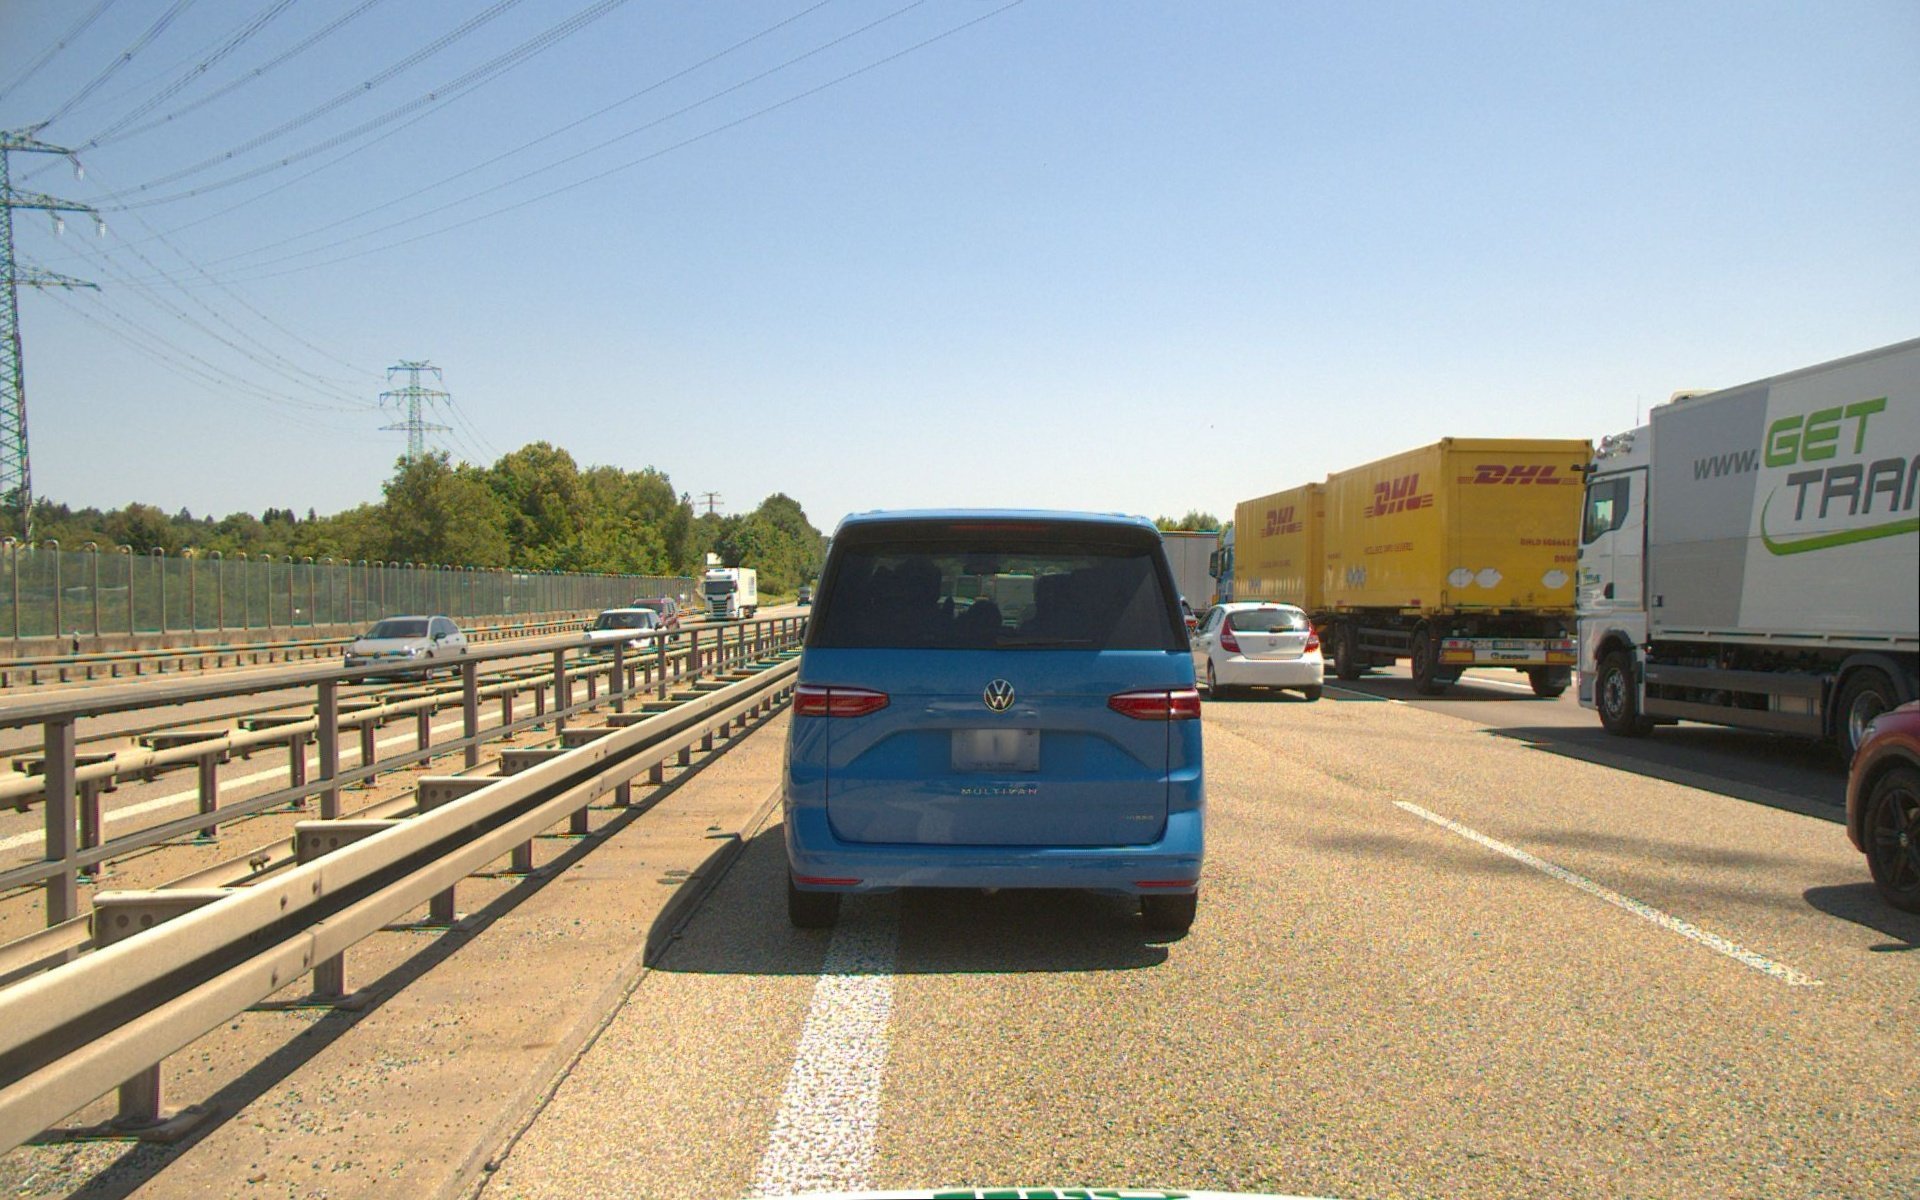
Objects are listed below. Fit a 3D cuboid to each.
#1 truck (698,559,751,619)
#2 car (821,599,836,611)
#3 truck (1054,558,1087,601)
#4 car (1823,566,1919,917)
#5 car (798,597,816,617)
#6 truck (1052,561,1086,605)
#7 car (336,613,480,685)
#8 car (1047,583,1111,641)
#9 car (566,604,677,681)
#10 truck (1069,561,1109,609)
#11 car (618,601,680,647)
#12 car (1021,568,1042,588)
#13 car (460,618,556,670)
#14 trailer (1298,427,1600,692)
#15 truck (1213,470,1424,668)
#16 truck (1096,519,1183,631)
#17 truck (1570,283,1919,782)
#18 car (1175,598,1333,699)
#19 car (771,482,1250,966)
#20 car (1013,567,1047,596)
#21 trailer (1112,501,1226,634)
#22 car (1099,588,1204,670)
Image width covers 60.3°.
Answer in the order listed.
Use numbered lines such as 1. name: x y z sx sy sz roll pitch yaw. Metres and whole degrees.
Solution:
1. truck: -18.199 -0.786 128.093 2.869 4.368 6.857 -3 -1 0
2. car: -18.076 0.667 227.116 1.736 1.517 4.604 -1 0 0
3. truck: 7.059 -1.301 105.617 1.760 2.641 4.305 1 -1 0
4. car: 5.521 0.673 6.779 1.673 1.708 4.284 0 -1 -1
5. car: -21.202 0.939 228.968 1.953 2.627 6.647 -2 0 -2
6. truck: 6.590 -0.992 100.088 1.706 2.593 4.209 1 -1 0
7. car: -12.478 1.073 37.681 1.834 1.467 4.384 -2 0 -1
8. car: 4.231 0.430 59.320 1.922 1.970 3.931 1 -1 -1
9. car: -7.960 0.971 39.221 1.834 1.556 3.607 -5 0 -1
10. truck: 7.118 -0.799 91.450 1.761 2.492 4.503 1 -1 0
11. car: -12.979 0.994 69.325 1.802 1.854 4.746 -1 -1 -2
12. car: 6.772 -2.050 156.572 1.760 1.782 3.942 1 -1 -1
13. car: -14.150 1.352 51.998 1.834 1.467 4.384 -2 0 -1
14. trailer: 8.673 -0.601 30.695 2.628 4.159 8.976 1 -1 -2
15. truck: 8.402 -0.610 40.163 2.645 4.159 9.936 1 -1 -2
16. truck: 7.959 -1.038 74.233 2.964 4.692 7.920 1 -1 0
17. truck: 9.055 -0.505 15.184 2.794 4.003 10.607 1 -1 -1
18. car: 4.700 0.744 26.960 1.778 1.496 3.930 1 -1 -2
19. car: 0.182 0.517 8.626 1.891 1.906 3.999 1 -1 -1
20. car: 4.324 -1.132 102.938 1.880 1.736 3.999 1 -1 -1
21. trailer: 8.009 -1.117 64.806 2.964 4.692 10.923 1 -1 0
22. car: 4.235 0.633 37.099 1.778 1.708 3.930 1 -1 -2
